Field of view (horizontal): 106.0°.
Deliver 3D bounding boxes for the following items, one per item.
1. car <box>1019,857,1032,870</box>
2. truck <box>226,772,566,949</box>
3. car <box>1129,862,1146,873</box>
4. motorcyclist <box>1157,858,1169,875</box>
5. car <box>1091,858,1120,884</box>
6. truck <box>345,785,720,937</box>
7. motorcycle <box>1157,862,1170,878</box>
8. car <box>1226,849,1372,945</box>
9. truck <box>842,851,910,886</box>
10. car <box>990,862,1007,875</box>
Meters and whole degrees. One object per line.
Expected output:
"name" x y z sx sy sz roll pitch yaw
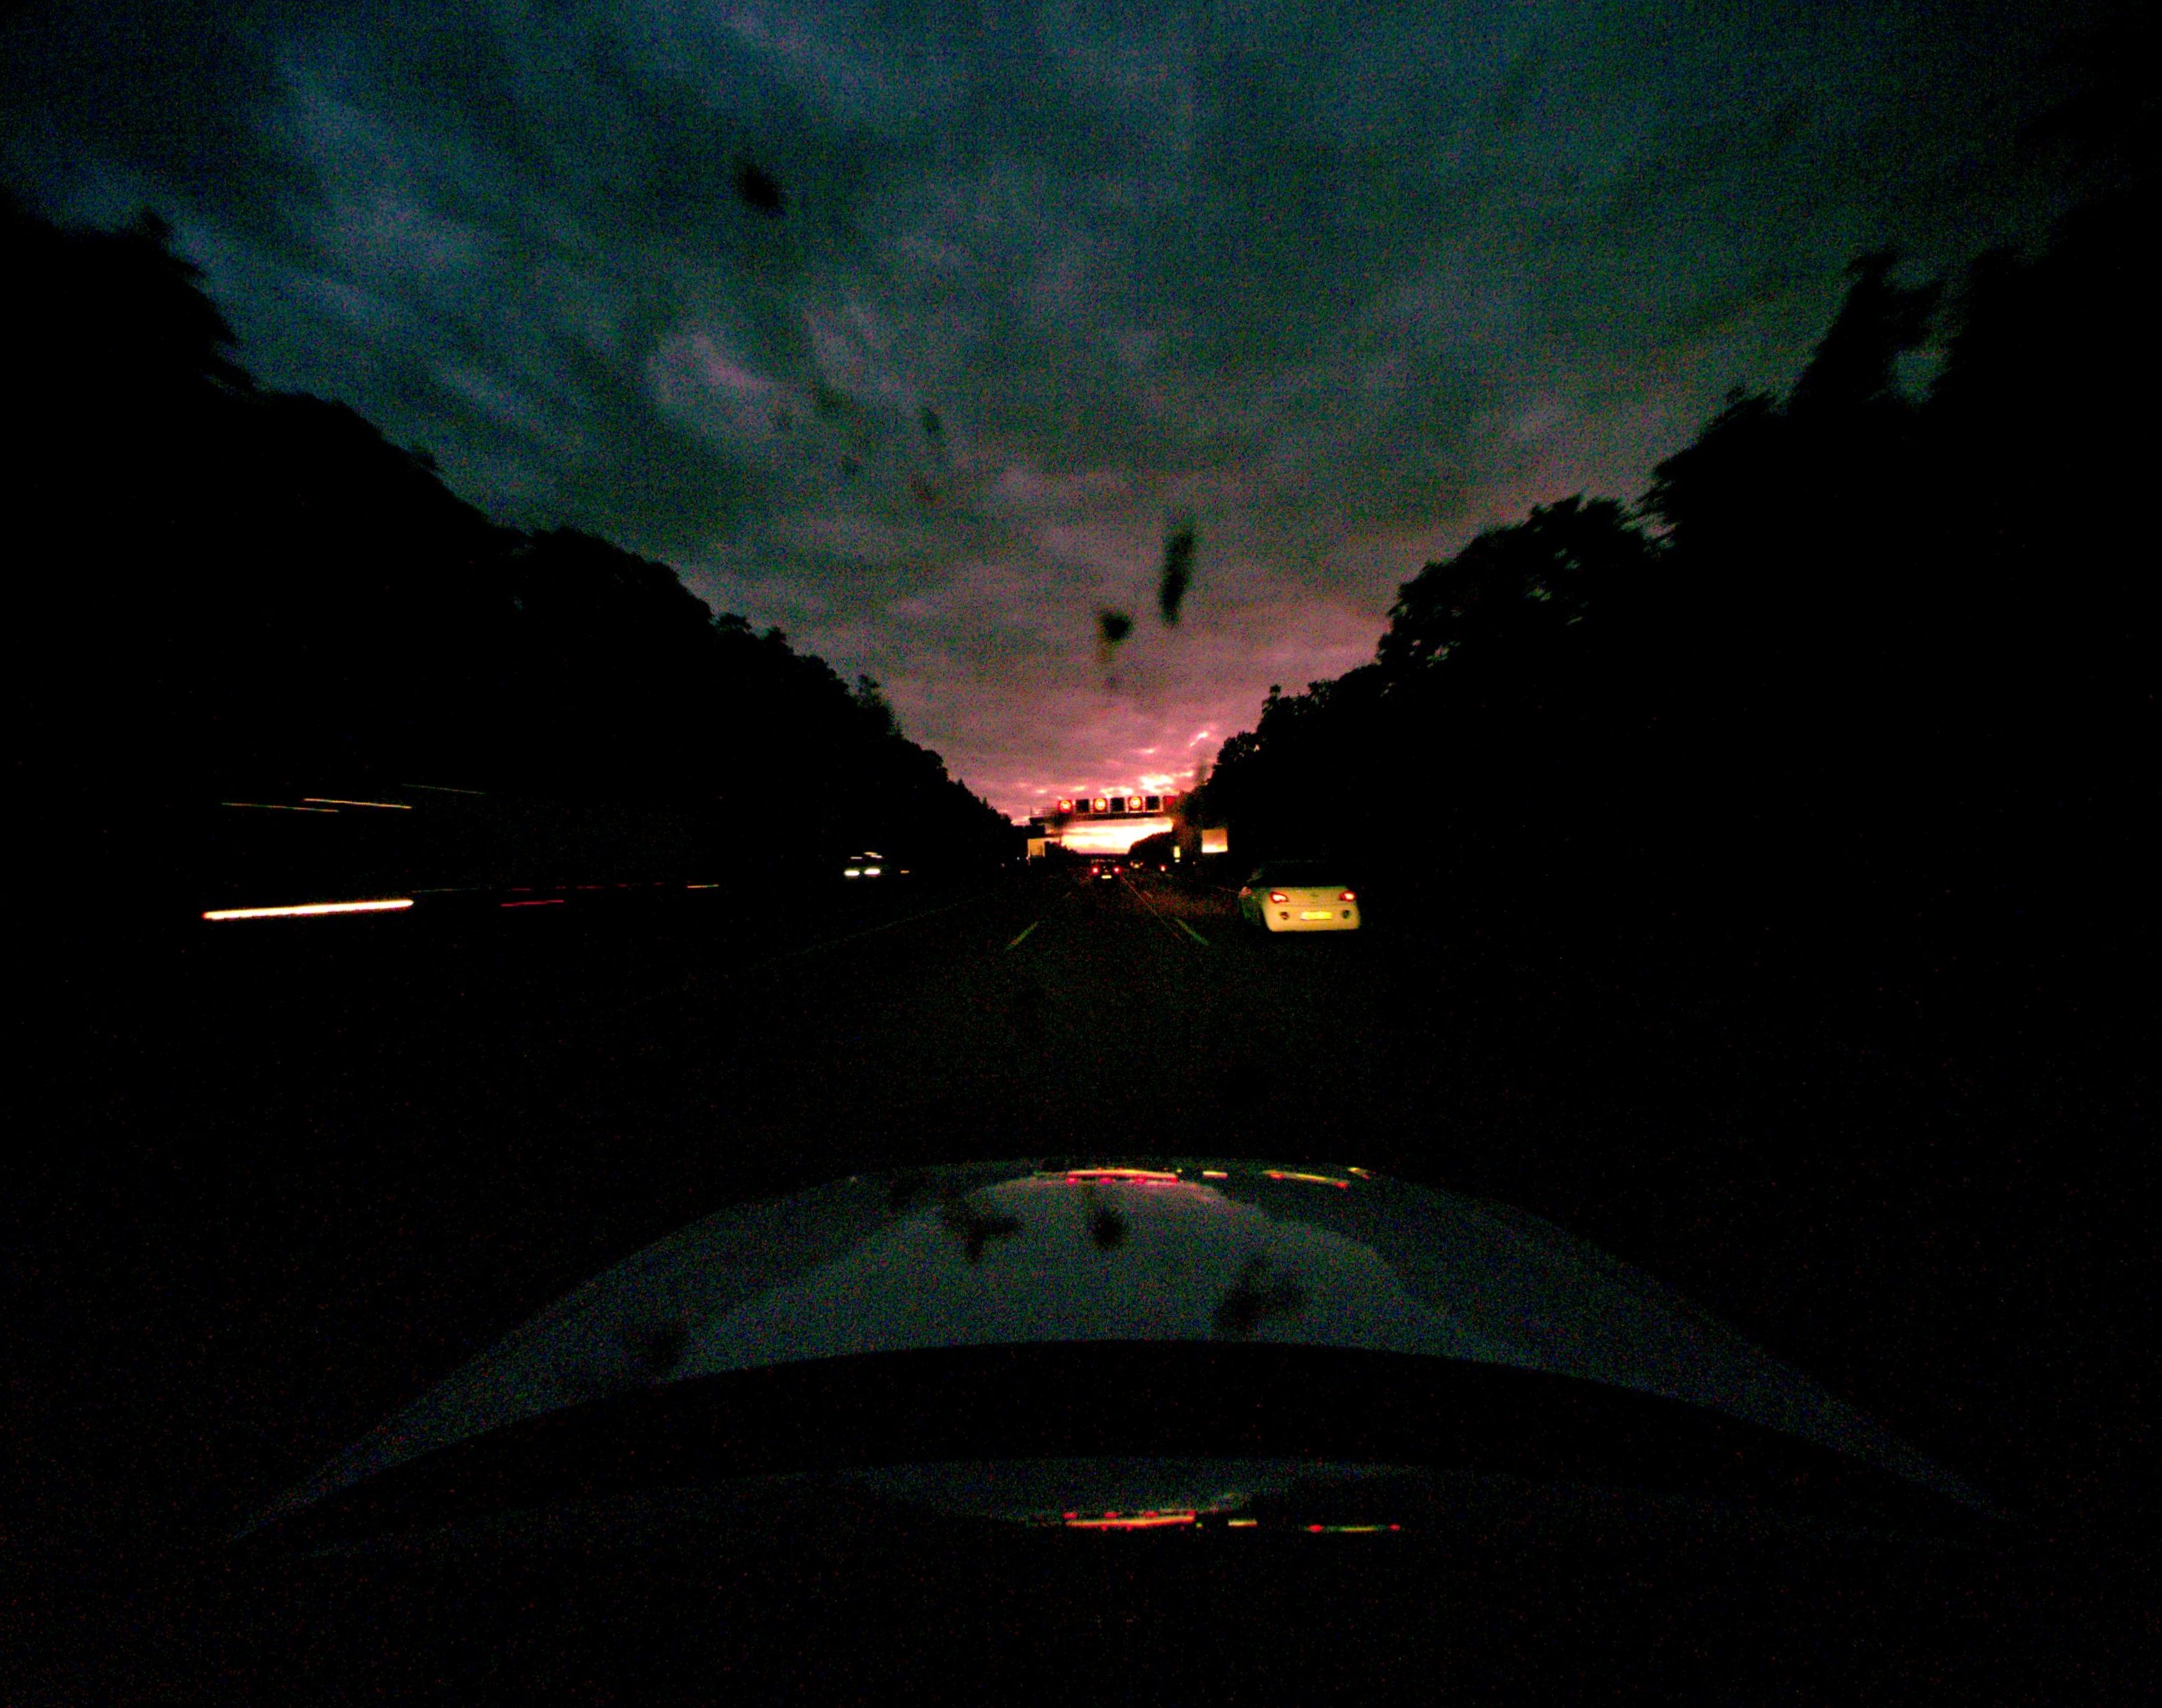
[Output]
"car" -12.706 2.216 187.210 1.973 2.880 7.840 -2 -1 3
"truck" -18.161 0.162 22.445 3.368 4.003 6.880 -2 0 1
"car" 7.926 1.929 114.179 1.861 1.494 4.394 0 -1 -2
"motorcyclist" 6.342 0.980 62.943 0.826 1.291 1.190 -2 -1 1
"car" 1.520 1.022 49.445 1.697 1.509 4.234 0 -1 2
"truck" -18.081 0.214 29.301 3.345 4.003 14.499 -2 0 1
"motorcycle" 6.355 1.227 63.007 0.826 1.134 2.477 -2 -1 2
"car" 4.079 0.719 15.995 1.818 1.475 4.402 -2 1 2
"truck" -16.320 1.104 65.643 2.450 2.510 9.762 -1 0 3
"car" -11.422 1.964 112.772 1.730 1.715 4.716 -1 0 1
